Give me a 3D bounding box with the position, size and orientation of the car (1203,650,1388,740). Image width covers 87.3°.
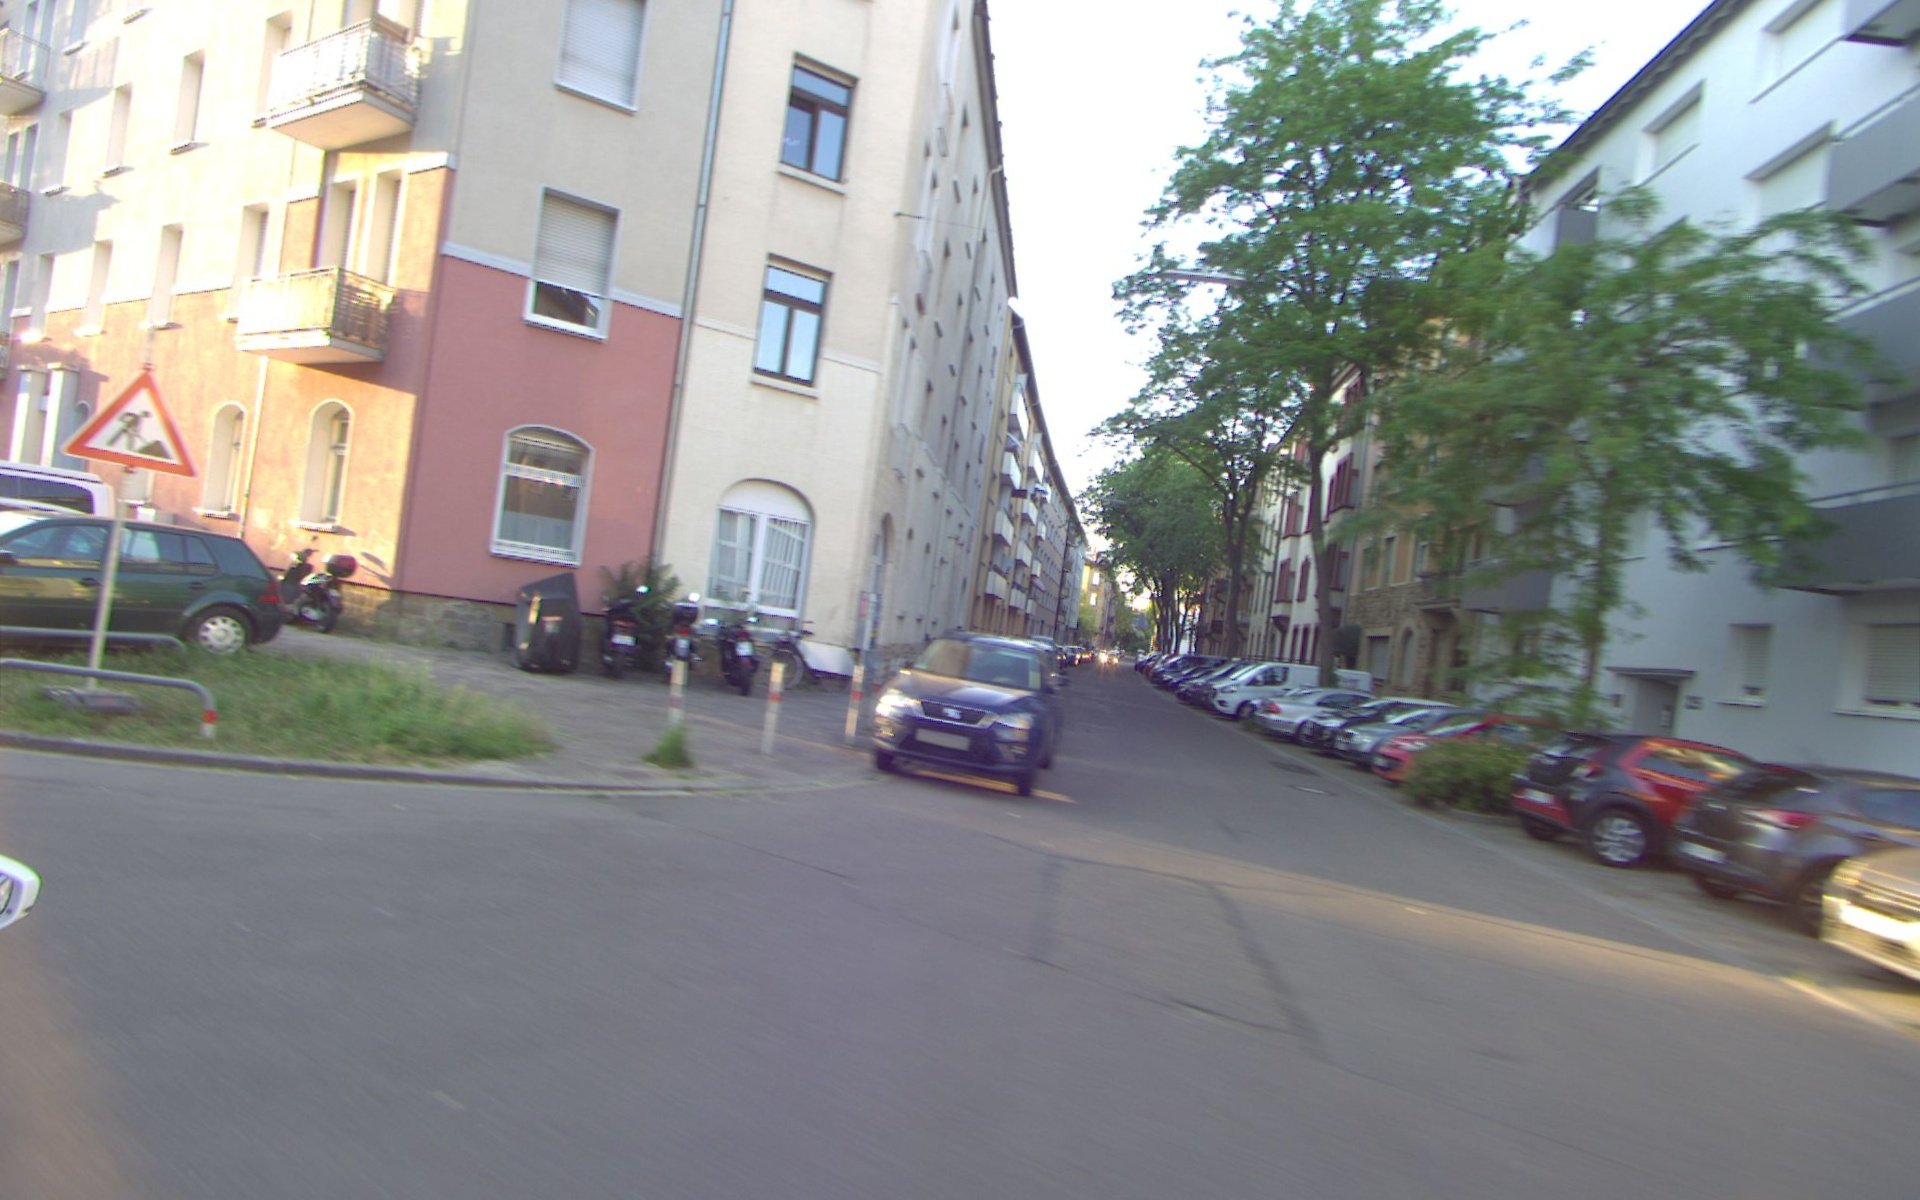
[{"bbox_3d":[10.460,2.938,31.679,4.898,2.037,2.191,8,-1,2],"label":"car"}]

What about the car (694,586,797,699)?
[{"bbox_3d":[-3.405,0.601,15.698,0.836,1.473,2.761,8,-1,-24],"label":"car"}]

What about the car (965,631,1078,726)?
[{"bbox_3d":[1.226,1.536,20.992,1.936,1.523,4.002,8,-1,2],"label":"car"}]

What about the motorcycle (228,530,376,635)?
[{"bbox_3d":[-9.891,-0.282,15.071,2.609,1.250,0.743,7,-1,33],"label":"motorcycle"}]

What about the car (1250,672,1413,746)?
[{"bbox_3d":[10.579,3.092,28.942,3.924,1.414,2.002,8,-1,9],"label":"car"}]

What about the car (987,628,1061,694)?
[{"bbox_3d":[2.032,1.857,31.293,1.962,1.670,4.004,8,-1,5],"label":"car"}]

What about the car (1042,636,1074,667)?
[{"bbox_3d":[6.741,3.516,69.536,1.962,1.803,4.004,8,-1,5],"label":"car"}]

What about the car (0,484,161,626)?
[{"bbox_3d":[-12.892,-0.748,12.583,1.966,1.637,3.996,7,-1,30],"label":"car"}]

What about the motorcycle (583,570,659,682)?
[{"bbox_3d":[-5.087,0.337,14.996,0.735,1.451,2.340,8,-1,-23],"label":"motorcycle"}]

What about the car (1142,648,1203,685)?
[{"bbox_3d":[15.056,4.720,71.226,3.924,2.035,2.004,8,-3,14],"label":"car"}]

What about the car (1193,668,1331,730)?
[{"bbox_3d":[10.249,3.351,34.433,4.029,1.414,2.001,8,-1,4],"label":"car"}]

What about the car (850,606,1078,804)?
[{"bbox_3d":[0.253,1.062,11.379,1.795,1.591,4.004,8,-1,9],"label":"car"}]

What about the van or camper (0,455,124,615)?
[{"bbox_3d":[-14.815,-1.164,13.617,2.006,2.121,4.843,8,-1,31],"label":"van or camper"}]

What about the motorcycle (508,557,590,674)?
[{"bbox_3d":[-5.884,0.172,14.386,0.828,1.451,2.340,8,-1,-23],"label":"motorcycle"}]

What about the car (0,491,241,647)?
[{"bbox_3d":[-10.992,-0.466,11.465,1.966,1.548,3.996,7,-1,30],"label":"car"}]

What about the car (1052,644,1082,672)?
[{"bbox_3d":[8.180,4.409,76.976,1.962,1.803,4.004,8,-1,5],"label":"car"}]

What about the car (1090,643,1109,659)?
[{"bbox_3d":[16.373,5.940,118.323,1.962,1.592,4.004,8,-1,8],"label":"car"}]

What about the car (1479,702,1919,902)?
[{"bbox_3d":[8.724,2.302,11.987,3.924,1.481,2.002,8,-1,6],"label":"car"}]

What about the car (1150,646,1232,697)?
[{"bbox_3d":[12.213,3.810,53.254,3.924,2.035,2.004,8,-3,14],"label":"car"}]

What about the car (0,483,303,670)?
[{"bbox_3d":[-9.165,-0.300,9.821,1.823,1.603,4.112,7,-1,29],"label":"car"}]

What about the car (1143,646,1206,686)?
[{"bbox_3d":[14.568,4.476,68.335,3.924,2.035,2.004,8,-3,14],"label":"car"}]

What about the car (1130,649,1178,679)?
[{"bbox_3d":[17.450,5.780,90.775,3.924,2.035,2.004,8,-2,9],"label":"car"}]

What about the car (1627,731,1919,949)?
[{"bbox_3d":[8.964,2.354,9.475,3.924,1.503,1.849,8,-1,6],"label":"car"}]

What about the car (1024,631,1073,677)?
[{"bbox_3d":[4.096,2.499,46.818,1.962,1.803,4.004,8,-1,5],"label":"car"}]

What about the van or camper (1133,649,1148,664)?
[{"bbox_3d":[29.025,9.115,161.945,2.002,2.120,4.855,8,-2,8],"label":"van or camper"}]

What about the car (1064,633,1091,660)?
[{"bbox_3d":[10.578,4.211,90.866,1.962,2.035,4.007,9,-3,5],"label":"car"}]

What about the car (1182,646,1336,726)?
[{"bbox_3d":[10.868,3.102,36.848,4.884,2.166,2.001,8,-1,4],"label":"car"}]

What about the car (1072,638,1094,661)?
[{"bbox_3d":[12.987,5.221,106.370,1.962,2.037,4.003,8,-1,5],"label":"car"}]

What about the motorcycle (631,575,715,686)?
[{"bbox_3d":[-4.419,0.407,15.338,0.735,1.451,2.638,8,-1,-23],"label":"motorcycle"}]

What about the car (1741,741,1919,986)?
[{"bbox_3d":[8.360,2.108,7.087,3.924,1.437,2.002,8,-1,6],"label":"car"}]

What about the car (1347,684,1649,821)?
[{"bbox_3d":[9.008,2.526,17.154,3.925,1.534,2.002,8,-1,4],"label":"car"}]

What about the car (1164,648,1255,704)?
[{"bbox_3d":[11.979,3.668,48.474,3.924,2.035,2.004,8,-3,14],"label":"car"}]

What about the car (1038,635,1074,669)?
[{"bbox_3d":[5.932,3.224,62.564,1.962,1.803,4.004,8,-1,5],"label":"car"}]

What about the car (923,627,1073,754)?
[{"bbox_3d":[0.691,1.346,16.214,1.933,1.523,4.003,8,-1,5],"label":"car"}]

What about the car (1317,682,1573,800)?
[{"bbox_3d":[9.375,2.702,19.761,3.925,1.548,2.001,8,-1,4],"label":"car"}]

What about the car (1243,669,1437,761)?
[{"bbox_3d":[9.242,2.774,24.747,3.924,1.548,2.002,8,-1,5],"label":"car"}]

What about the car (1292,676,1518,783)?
[{"bbox_3d":[9.621,2.772,22.031,3.925,1.603,2.001,8,-1,4],"label":"car"}]

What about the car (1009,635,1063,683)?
[{"bbox_3d":[3.170,2.411,41.734,1.962,1.603,4.004,8,-1,5],"label":"car"}]

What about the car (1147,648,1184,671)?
[{"bbox_3d":[23.738,6.850,116.329,3.924,2.037,2.002,8,-1,9],"label":"car"}]

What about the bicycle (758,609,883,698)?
[{"bbox_3d":[-2.404,0.934,17.424,1.886,1.296,0.679,9,-1,-32],"label":"bicycle"}]

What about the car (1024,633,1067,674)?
[{"bbox_3d":[4.491,2.770,52.768,1.962,1.803,4.004,8,-1,5],"label":"car"}]
